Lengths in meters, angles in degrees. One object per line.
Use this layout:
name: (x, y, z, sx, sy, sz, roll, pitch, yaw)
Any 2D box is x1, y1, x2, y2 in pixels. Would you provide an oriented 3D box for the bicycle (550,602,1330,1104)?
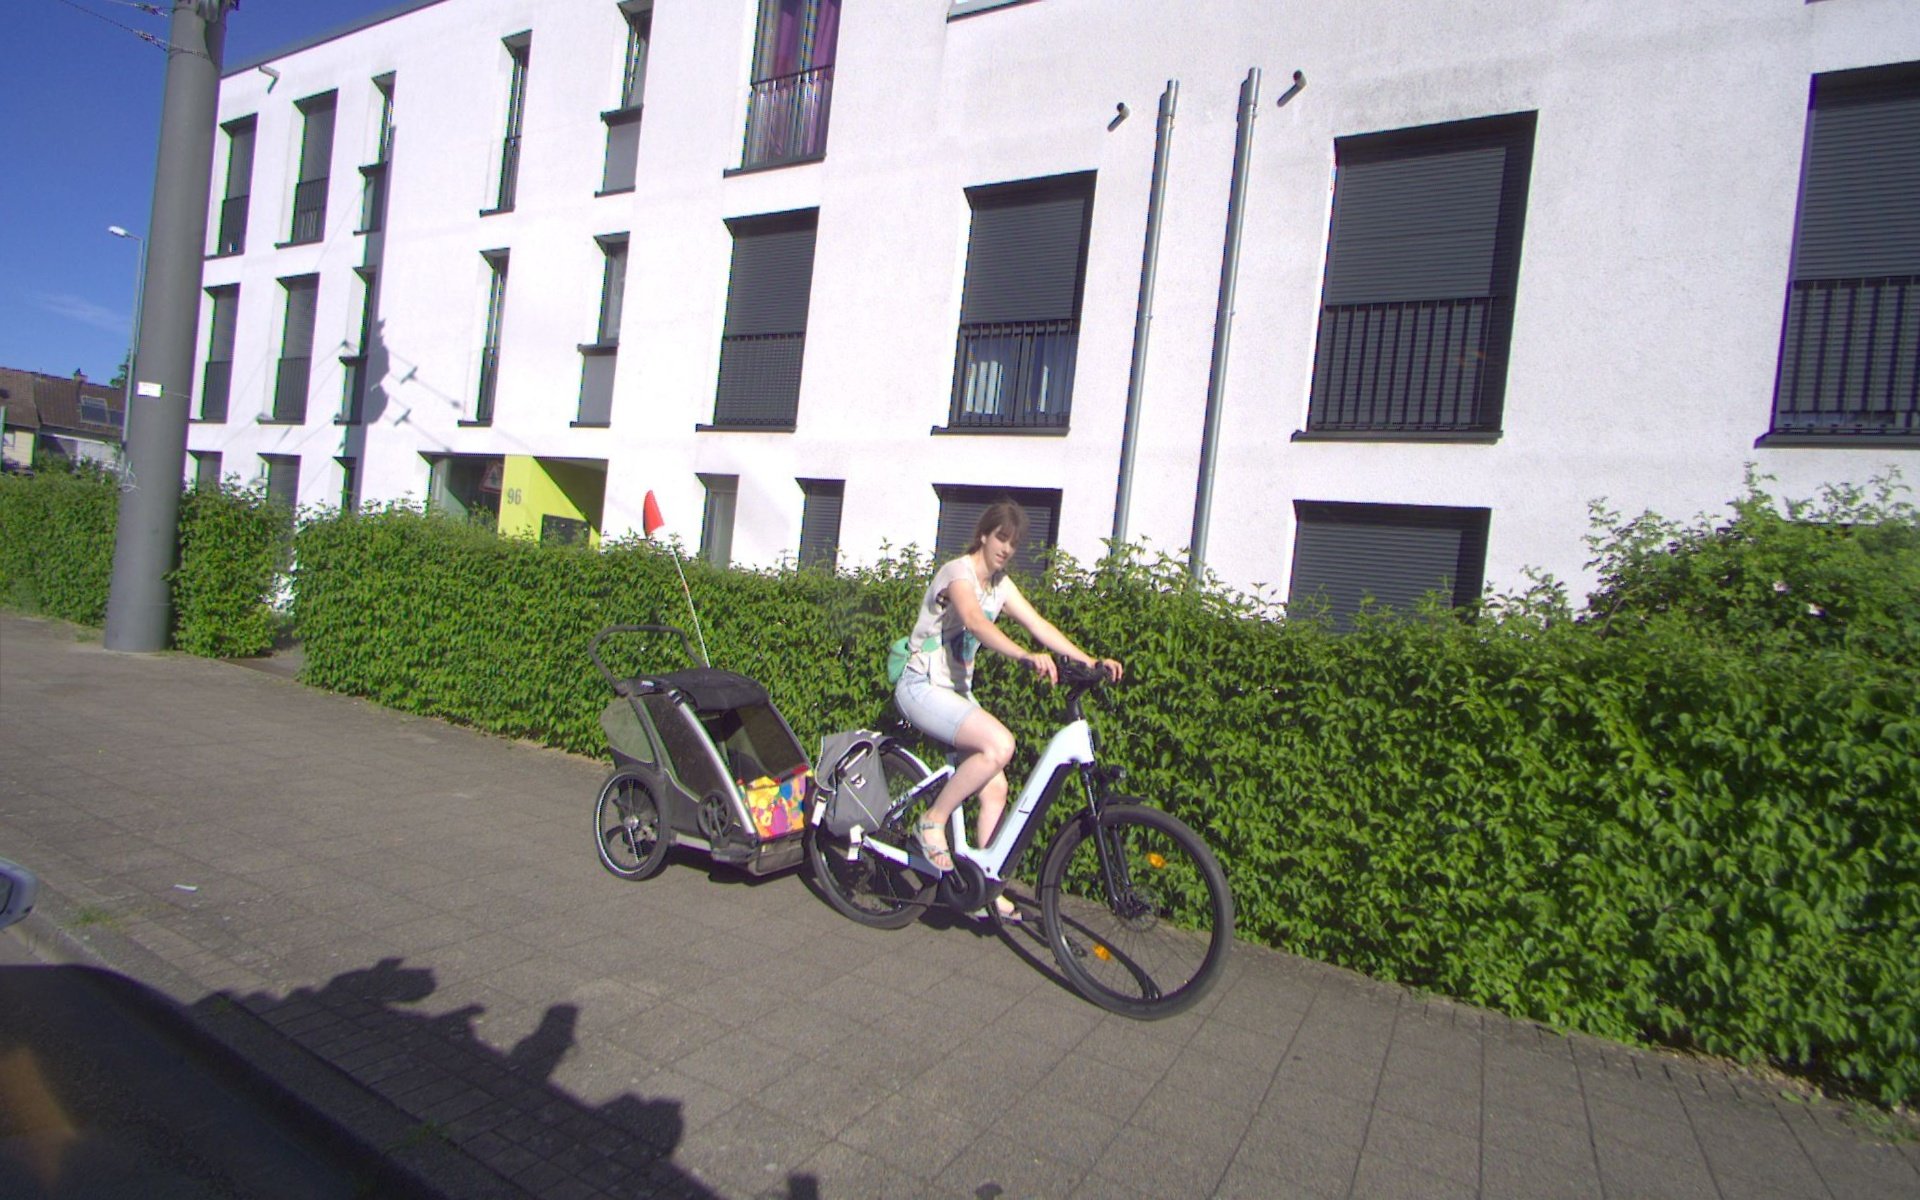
bicycle: (-0.231, 0.771, 4.126, 3.072, 1.188, 0.929, 6, 1, 30)

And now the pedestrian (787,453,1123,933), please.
pedestrian: (0.006, 0.314, 4.004, 0.840, 1.614, 0.911, 7, 1, 30)
